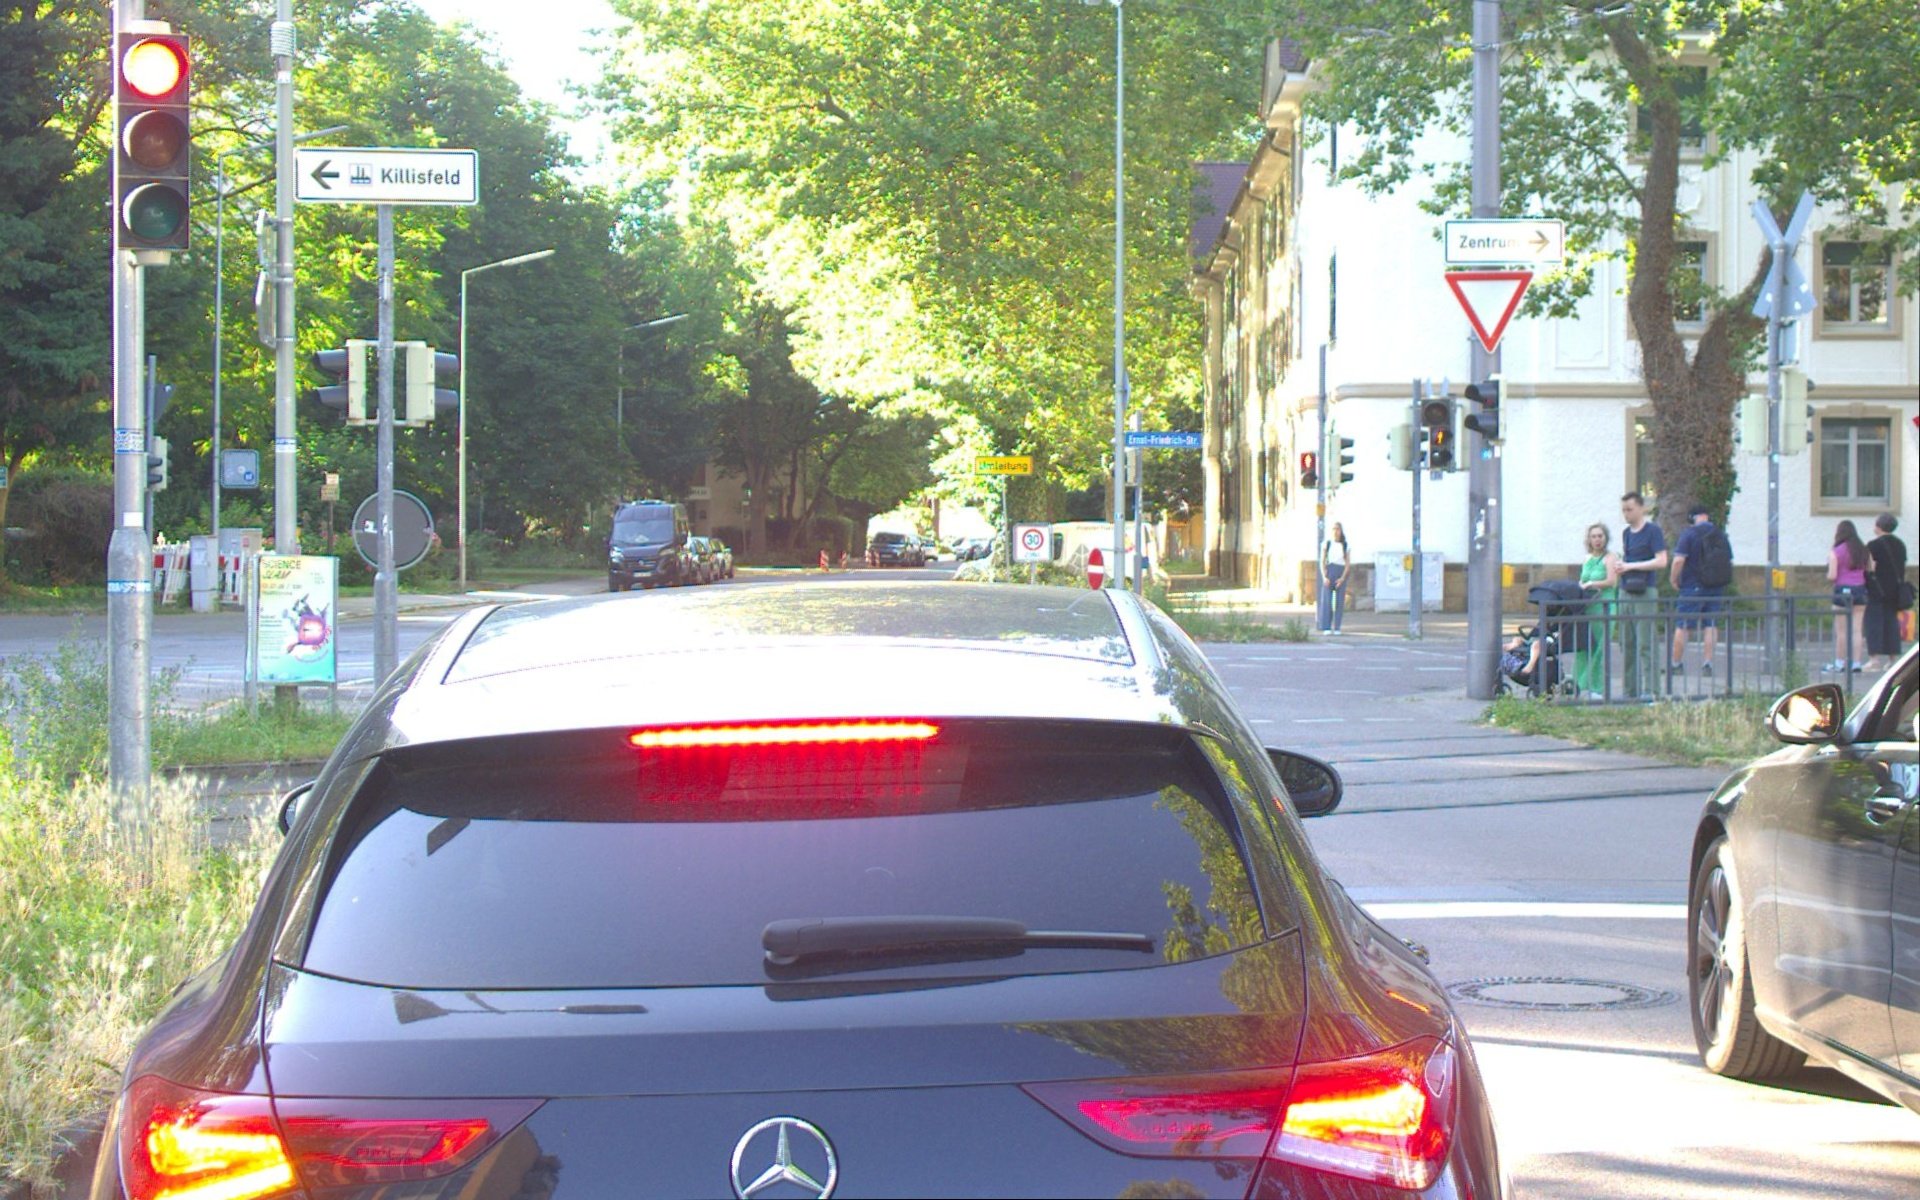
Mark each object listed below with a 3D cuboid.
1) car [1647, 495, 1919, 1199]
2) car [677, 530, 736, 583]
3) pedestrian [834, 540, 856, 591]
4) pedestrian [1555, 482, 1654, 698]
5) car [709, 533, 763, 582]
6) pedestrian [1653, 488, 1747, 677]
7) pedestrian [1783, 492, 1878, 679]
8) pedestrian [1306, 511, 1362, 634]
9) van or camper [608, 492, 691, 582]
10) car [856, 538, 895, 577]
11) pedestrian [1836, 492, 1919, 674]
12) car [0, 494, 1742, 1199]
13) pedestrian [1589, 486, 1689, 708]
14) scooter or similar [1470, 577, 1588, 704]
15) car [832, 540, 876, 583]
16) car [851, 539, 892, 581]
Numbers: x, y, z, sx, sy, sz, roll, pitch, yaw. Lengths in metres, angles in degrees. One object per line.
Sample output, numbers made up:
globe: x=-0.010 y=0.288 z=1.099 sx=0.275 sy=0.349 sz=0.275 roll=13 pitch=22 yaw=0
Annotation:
car: x=2.885 y=0.585 z=7.231 sx=1.889 sy=1.485 sz=4.382 roll=1 pitch=3 yaw=-1
car: x=-8.603 y=-1.473 z=117.116 sx=1.733 sy=1.759 sz=4.085 roll=1 pitch=1 yaw=-1
pedestrian: x=-4.357 y=-1.319 z=130.036 sx=0.705 sy=1.911 sz=0.839 roll=1 pitch=0 yaw=-10
pedestrian: x=5.787 y=-0.094 z=30.900 sx=0.682 sy=1.911 sz=0.707 roll=1 pitch=0 yaw=-4
car: x=-8.218 y=-1.560 z=126.413 sx=1.733 sy=1.759 sz=3.971 roll=1 pitch=1 yaw=-1
pedestrian: x=7.595 y=-0.182 z=35.301 sx=0.705 sy=1.911 sz=0.839 roll=1 pitch=0 yaw=-4
pedestrian: x=9.025 y=-0.149 z=35.678 sx=0.705 sy=1.911 sz=0.839 roll=1 pitch=0 yaw=-4
pedestrian: x=5.880 y=-0.432 z=54.063 sx=0.705 sy=1.911 sz=0.839 roll=1 pitch=0 yaw=-4
van or camper: x=-8.986 y=-1.800 z=99.748 sx=1.993 sy=2.532 sz=4.651 roll=1 pitch=1 yaw=0
car: x=-3.889 y=-1.963 z=158.475 sx=1.733 sy=1.759 sz=4.019 roll=1 pitch=1 yaw=-1
pedestrian: x=9.836 y=-0.178 z=36.678 sx=0.705 sy=1.911 sz=0.839 roll=1 pitch=0 yaw=-4
car: x=-0.176 y=0.617 z=5.353 sx=1.889 sy=1.445 sz=4.001 roll=1 pitch=3 yaw=1
pedestrian: x=5.945 y=-0.032 z=30.128 sx=0.682 sy=1.911 sz=0.707 roll=1 pitch=0 yaw=-2
scooter or similar: x=5.030 y=0.350 z=30.415 sx=0.828 sy=1.101 sz=0.809 roll=1 pitch=0 yaw=-6
car: x=-4.471 y=-1.641 z=145.573 sx=1.733 sy=1.759 sz=4.019 roll=1 pitch=1 yaw=-1
car: x=-3.867 y=-1.741 z=150.393 sx=1.733 sy=1.759 sz=4.019 roll=1 pitch=1 yaw=-1
